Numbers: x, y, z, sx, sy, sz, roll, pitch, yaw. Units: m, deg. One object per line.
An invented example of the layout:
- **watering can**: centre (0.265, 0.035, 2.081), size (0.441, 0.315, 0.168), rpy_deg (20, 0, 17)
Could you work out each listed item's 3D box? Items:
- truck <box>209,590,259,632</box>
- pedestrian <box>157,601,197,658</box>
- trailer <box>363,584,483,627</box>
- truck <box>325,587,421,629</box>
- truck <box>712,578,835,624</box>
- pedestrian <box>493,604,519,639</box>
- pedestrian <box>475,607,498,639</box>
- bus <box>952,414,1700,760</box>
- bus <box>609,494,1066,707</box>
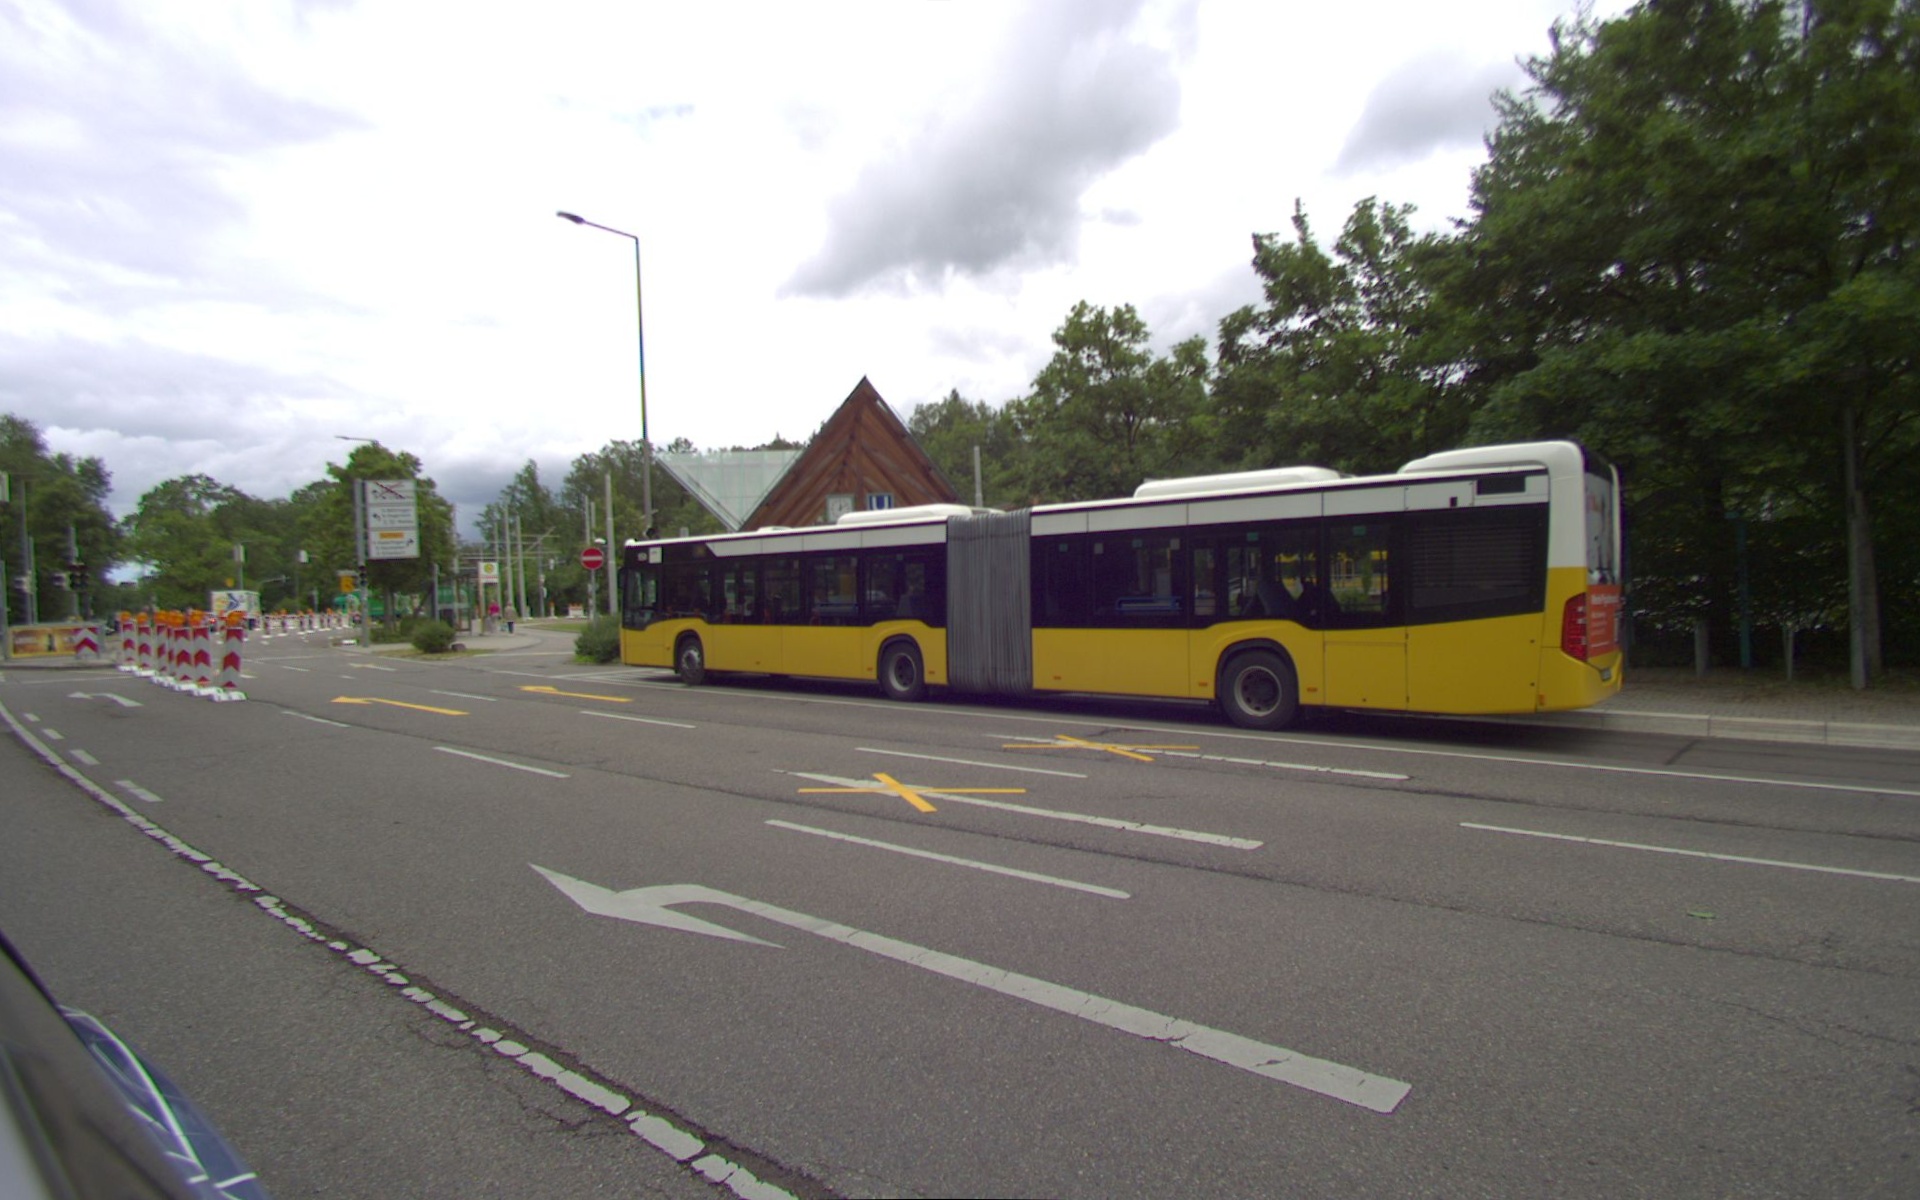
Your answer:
- **truck**: centre (-59.234, 0.894, 82.659), size (2.592, 3.263, 6.225), rpy_deg (0, -1, -29)
- **pedestrian**: centre (-26.211, 0.984, 33.878), size (0.979, 1.822, 0.768), rpy_deg (-3, 1, -39)
- **trailer**: centre (-56.534, 0.556, 106.483), size (11.764, 3.910, 3.769), rpy_deg (-3, 1, 17)
- **truck**: centre (-62.715, 0.858, 108.178), size (8.694, 3.910, 3.769), rpy_deg (-3, 1, 17)
- **truck**: centre (-10.340, 0.077, 55.950), size (6.263, 2.186, 2.587), rpy_deg (-3, 1, 24)
- **pedestrian**: centre (-20.544, 0.976, 45.787), size (0.861, 1.536, 0.770), rpy_deg (-3, 1, -11)
- **pedestrian**: centre (-23.609, 1.150, 50.450), size (0.779, 1.563, 0.777), rpy_deg (-3, 1, -38)
- **bus**: centre (4.094, -0.063, 13.164), size (8.690, 3.150, 2.868), rpy_deg (-1, -1, 41)
- **bus**: centre (-2.820, 0.077, 19.279), size (9.755, 3.150, 2.868), rpy_deg (-1, -1, 41)
